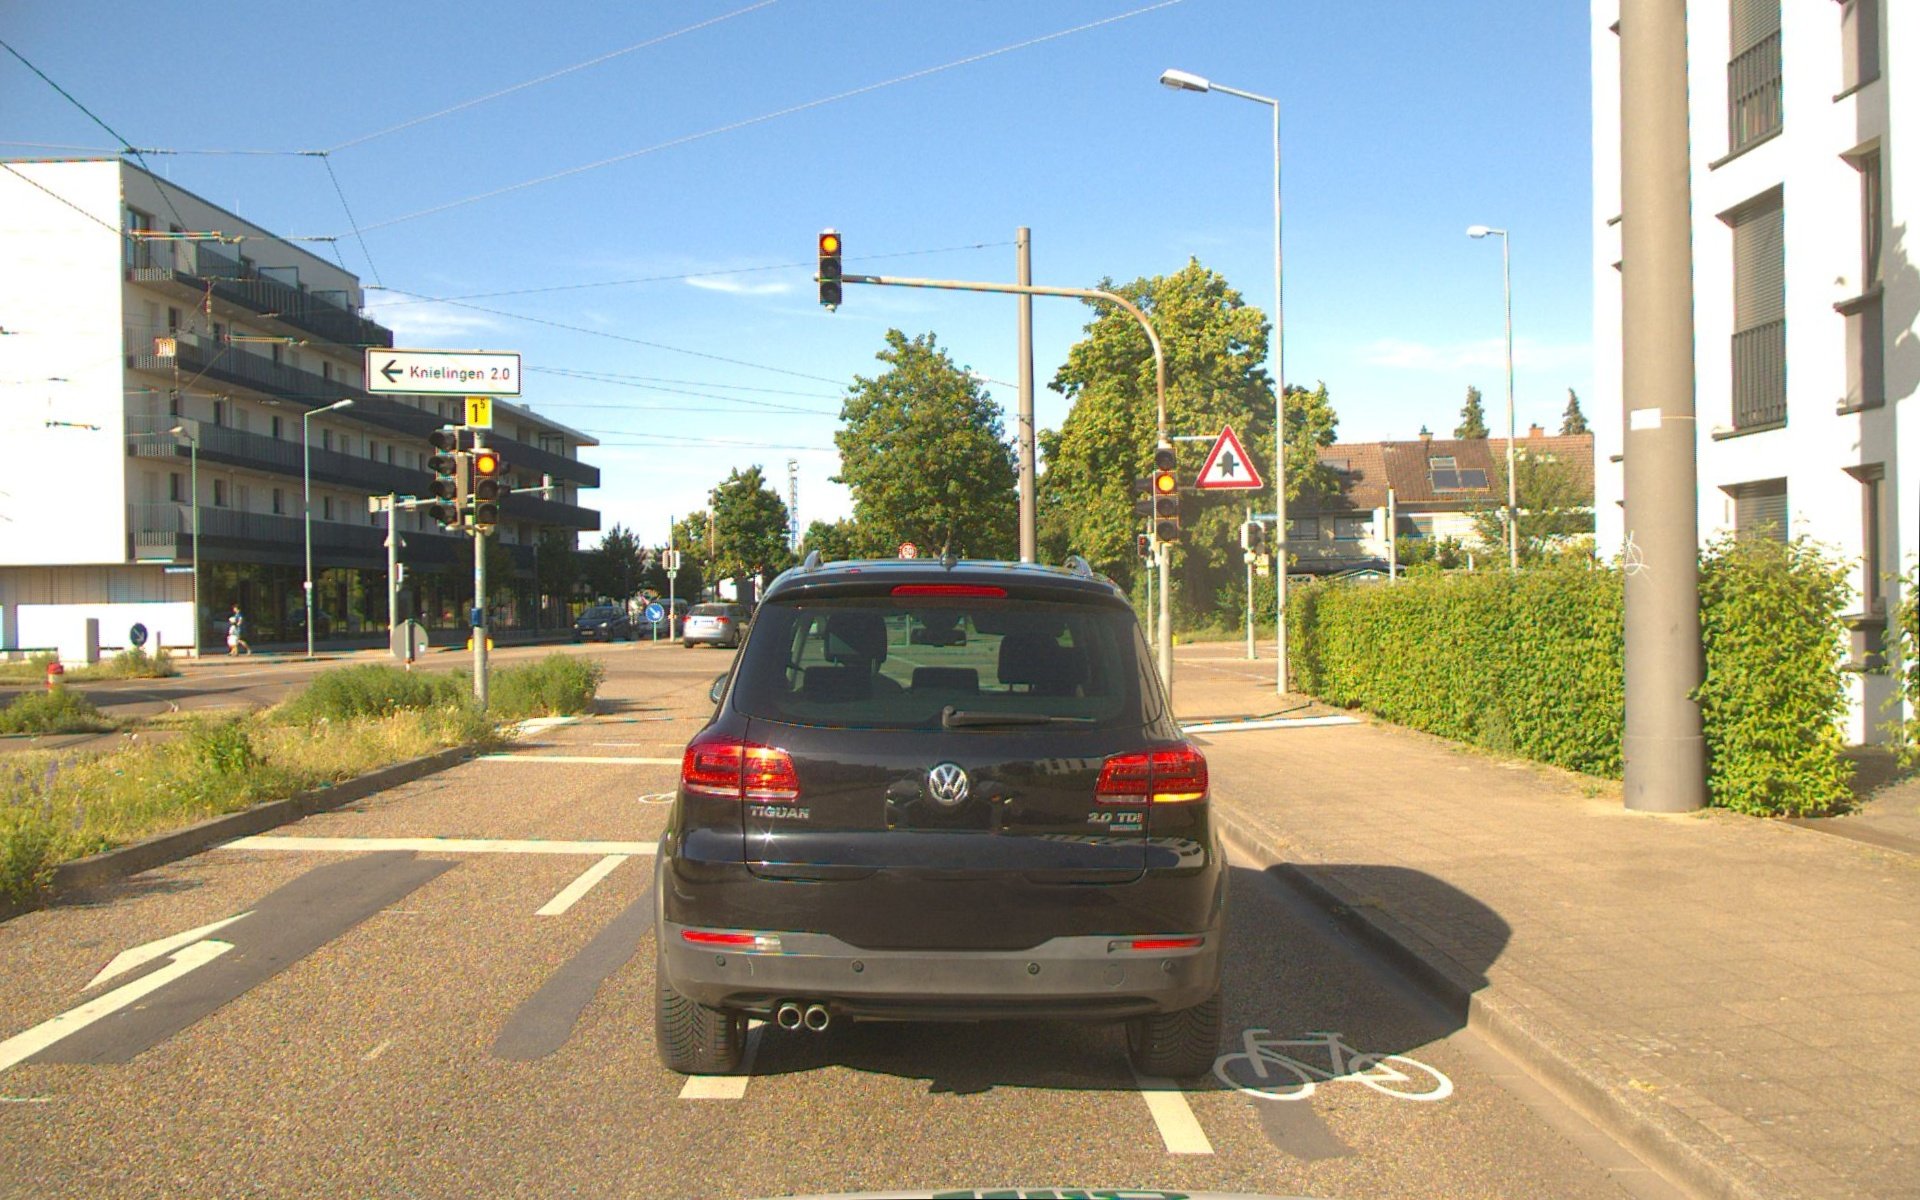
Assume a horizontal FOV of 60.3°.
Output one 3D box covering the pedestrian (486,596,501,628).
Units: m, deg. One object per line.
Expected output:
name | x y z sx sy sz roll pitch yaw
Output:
pedestrian | -23.327 0.598 82.680 0.631 1.535 0.594 1 -1 -10

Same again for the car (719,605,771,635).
car | -12.243 1.128 94.406 1.951 1.601 4.342 1 0 7

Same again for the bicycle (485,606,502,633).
bicycle | -23.325 0.961 82.640 0.619 1.355 1.908 1 0 -10

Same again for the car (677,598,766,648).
car | -7.701 0.715 53.733 1.824 1.511 4.113 -1 0 7

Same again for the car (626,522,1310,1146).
car | -0.001 0.646 6.485 1.831 1.666 3.999 1 0 -1

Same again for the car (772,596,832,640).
car | -6.556 0.717 68.920 1.824 1.750 3.689 -1 0 5

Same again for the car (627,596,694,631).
car | -14.382 0.632 79.640 1.951 1.601 4.342 1 0 7

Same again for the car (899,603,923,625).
car | -4.032 1.123 136.213 1.953 1.713 3.998 1 0 -2

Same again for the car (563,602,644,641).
car | -15.310 0.926 71.178 1.951 1.601 4.343 1 0 9

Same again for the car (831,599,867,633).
car | -6.276 0.918 93.963 1.954 1.869 3.997 1 0 -4

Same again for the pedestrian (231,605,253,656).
pedestrian | -24.942 1.057 57.485 0.532 1.774 0.517 1 -1 -6
